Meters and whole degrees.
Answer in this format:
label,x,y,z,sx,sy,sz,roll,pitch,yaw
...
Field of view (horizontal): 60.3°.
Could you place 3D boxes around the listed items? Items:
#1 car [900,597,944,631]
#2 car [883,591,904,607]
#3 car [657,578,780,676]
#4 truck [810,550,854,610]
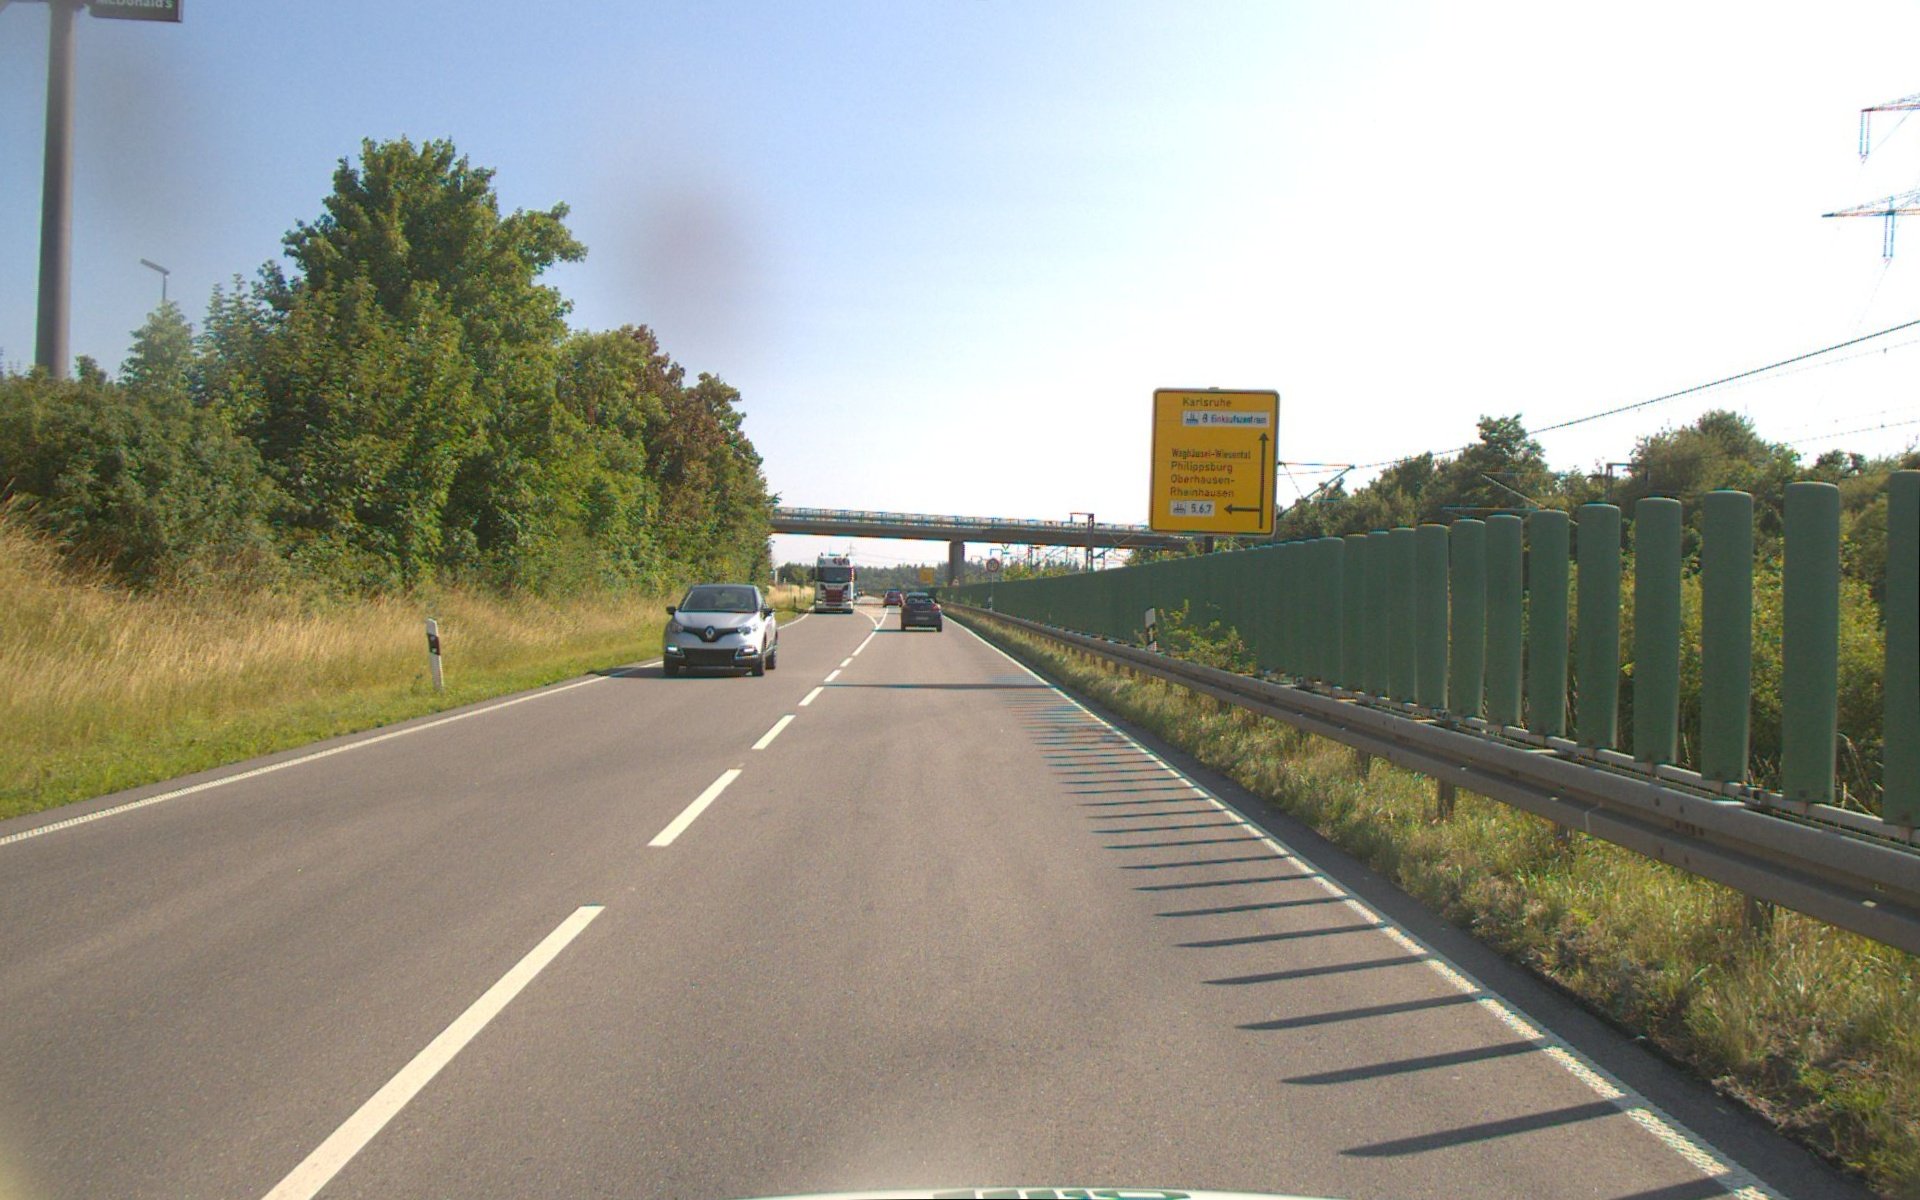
label,x,y,z,sx,sy,sz,roll,pitch,yaw
car,-1.515,0.533,64.477,1.630,1.283,3.998,1,0,-3
car,-6.059,-0.092,150.248,1.857,1.443,3.998,1,0,-3
car,-4.265,0.453,29.788,1.760,1.621,3.998,1,0,-2
truck,-8.417,-1.291,109.599,2.508,3.753,10.482,1,0,-3
